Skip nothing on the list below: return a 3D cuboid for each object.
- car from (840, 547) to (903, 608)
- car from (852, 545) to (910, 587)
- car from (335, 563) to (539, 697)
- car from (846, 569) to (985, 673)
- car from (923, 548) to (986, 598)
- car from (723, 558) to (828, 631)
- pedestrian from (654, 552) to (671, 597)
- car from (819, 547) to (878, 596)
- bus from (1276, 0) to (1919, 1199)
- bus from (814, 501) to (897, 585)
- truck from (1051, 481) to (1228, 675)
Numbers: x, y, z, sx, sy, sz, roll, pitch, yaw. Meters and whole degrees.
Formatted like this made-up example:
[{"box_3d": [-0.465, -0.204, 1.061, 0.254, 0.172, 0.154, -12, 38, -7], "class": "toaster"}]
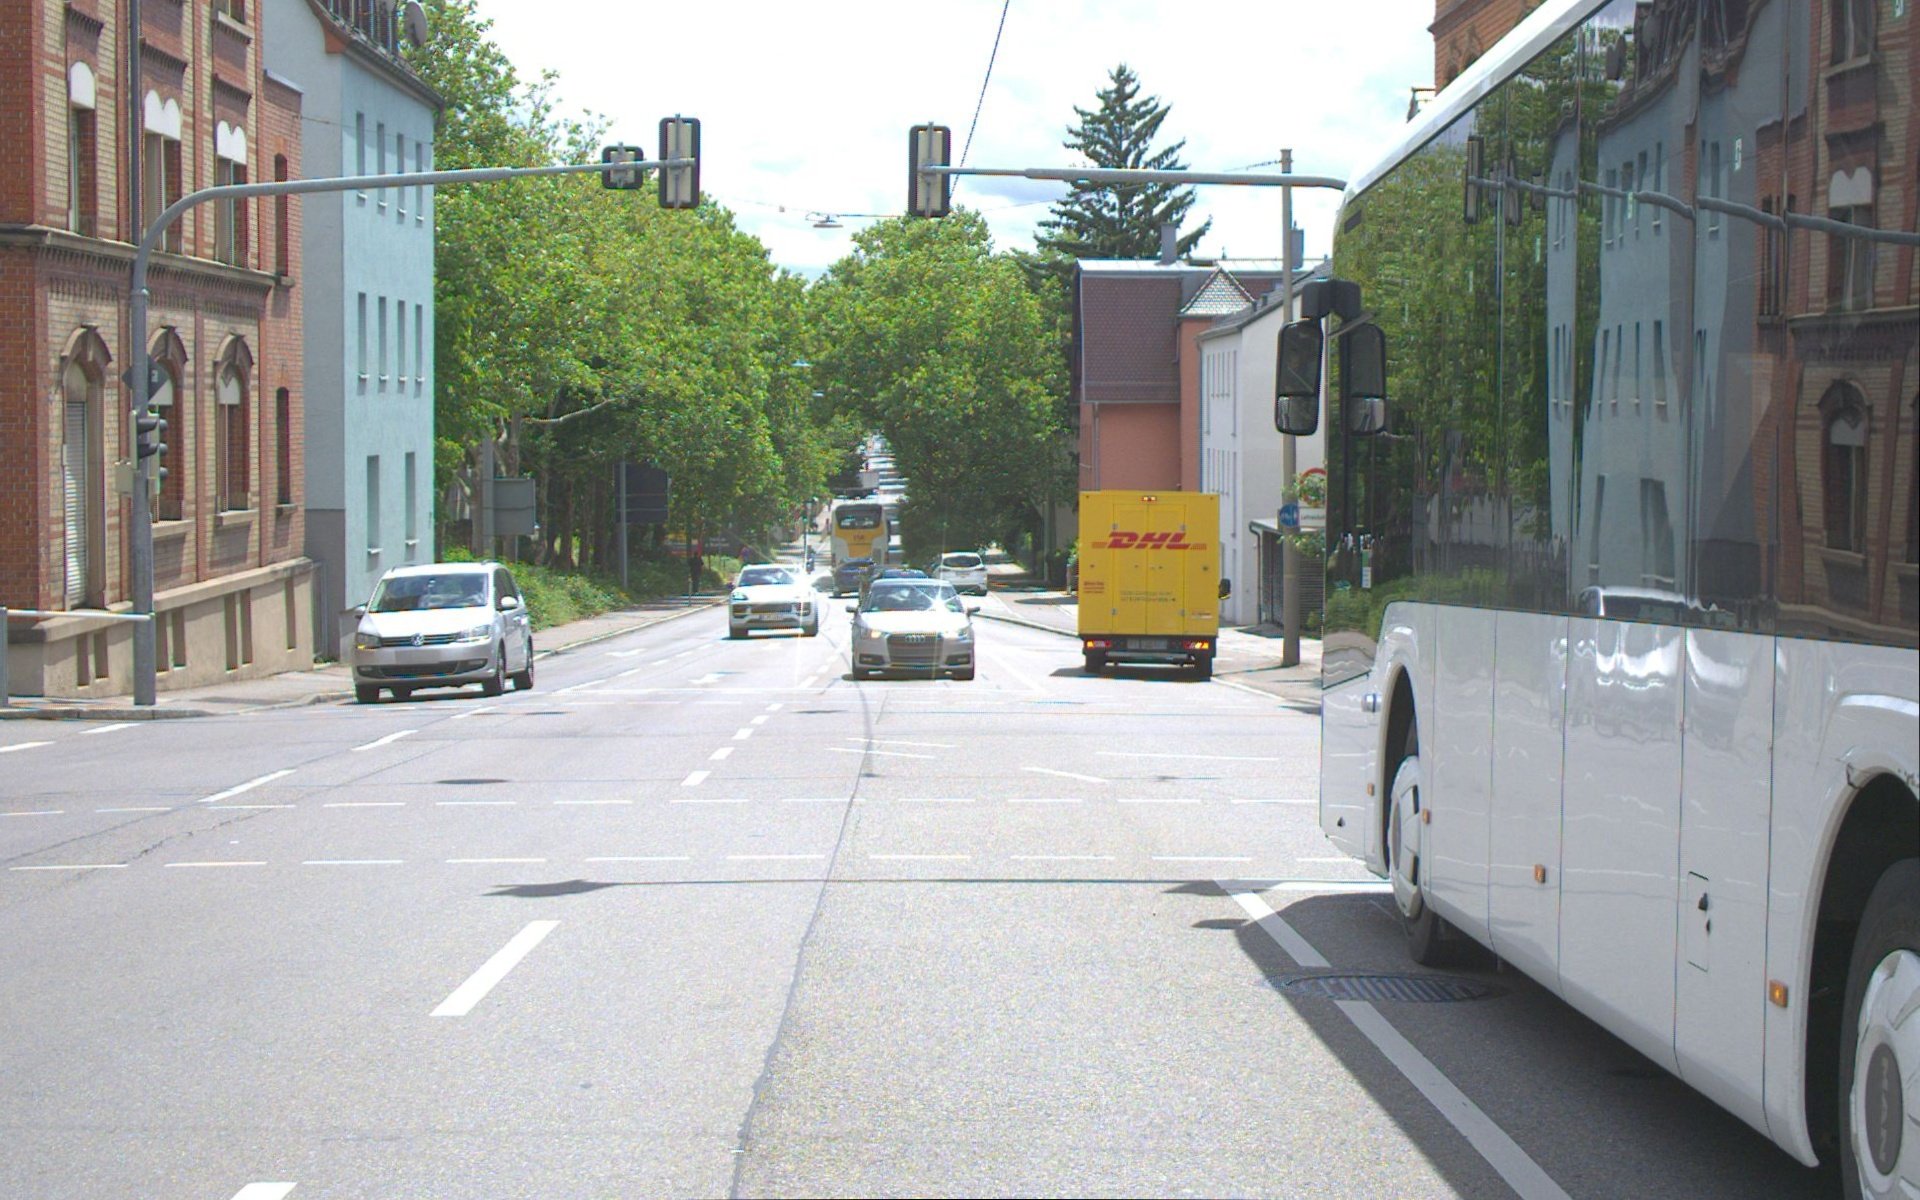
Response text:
[{"box_3d": [-2.633, -0.702, 103.325, 1.819, 1.778, 4.000, -1, 1, -1], "class": "car"}, {"box_3d": [-2.637, -1.143, 115.333, 1.865, 1.363, 4.547, -1, 1, -1], "class": "car"}, {"box_3d": [-6.523, 0.333, 43.326, 1.935, 1.558, 4.389, -1, 1, -1], "class": "car"}, {"box_3d": [-0.627, 0.261, 48.849, 1.865, 1.363, 4.547, -1, 1, -1], "class": "car"}, {"box_3d": [-0.234, -1.027, 129.605, 2.091, 1.824, 4.143, 0, 1, -4], "class": "car"}, {"box_3d": [-4.217, -0.155, 79.284, 2.207, 1.607, 4.547, -1, 1, -1], "class": "car"}, {"box_3d": [-11.806, -1.007, 136.554, 0.606, 1.752, 0.654, -1, 1, -2], "class": "pedestrian"}, {"box_3d": [-4.218, -1.086, 129.595, 2.091, 1.824, 4.143, 0, 1, -4], "class": "car"}, {"box_3d": [2.978, -0.369, 9.300, 2.904, 3.498, 12.488, 1, 1, -1], "class": "bus"}, {"box_3d": [-4.800, -2.581, 155.994, 3.300, 3.618, 11.246, -1, 1, -4], "class": "bus"}, {"box_3d": [2.973, -0.363, 55.365, 2.542, 2.903, 6.571, 1, 1, 5], "class": "truck"}]
